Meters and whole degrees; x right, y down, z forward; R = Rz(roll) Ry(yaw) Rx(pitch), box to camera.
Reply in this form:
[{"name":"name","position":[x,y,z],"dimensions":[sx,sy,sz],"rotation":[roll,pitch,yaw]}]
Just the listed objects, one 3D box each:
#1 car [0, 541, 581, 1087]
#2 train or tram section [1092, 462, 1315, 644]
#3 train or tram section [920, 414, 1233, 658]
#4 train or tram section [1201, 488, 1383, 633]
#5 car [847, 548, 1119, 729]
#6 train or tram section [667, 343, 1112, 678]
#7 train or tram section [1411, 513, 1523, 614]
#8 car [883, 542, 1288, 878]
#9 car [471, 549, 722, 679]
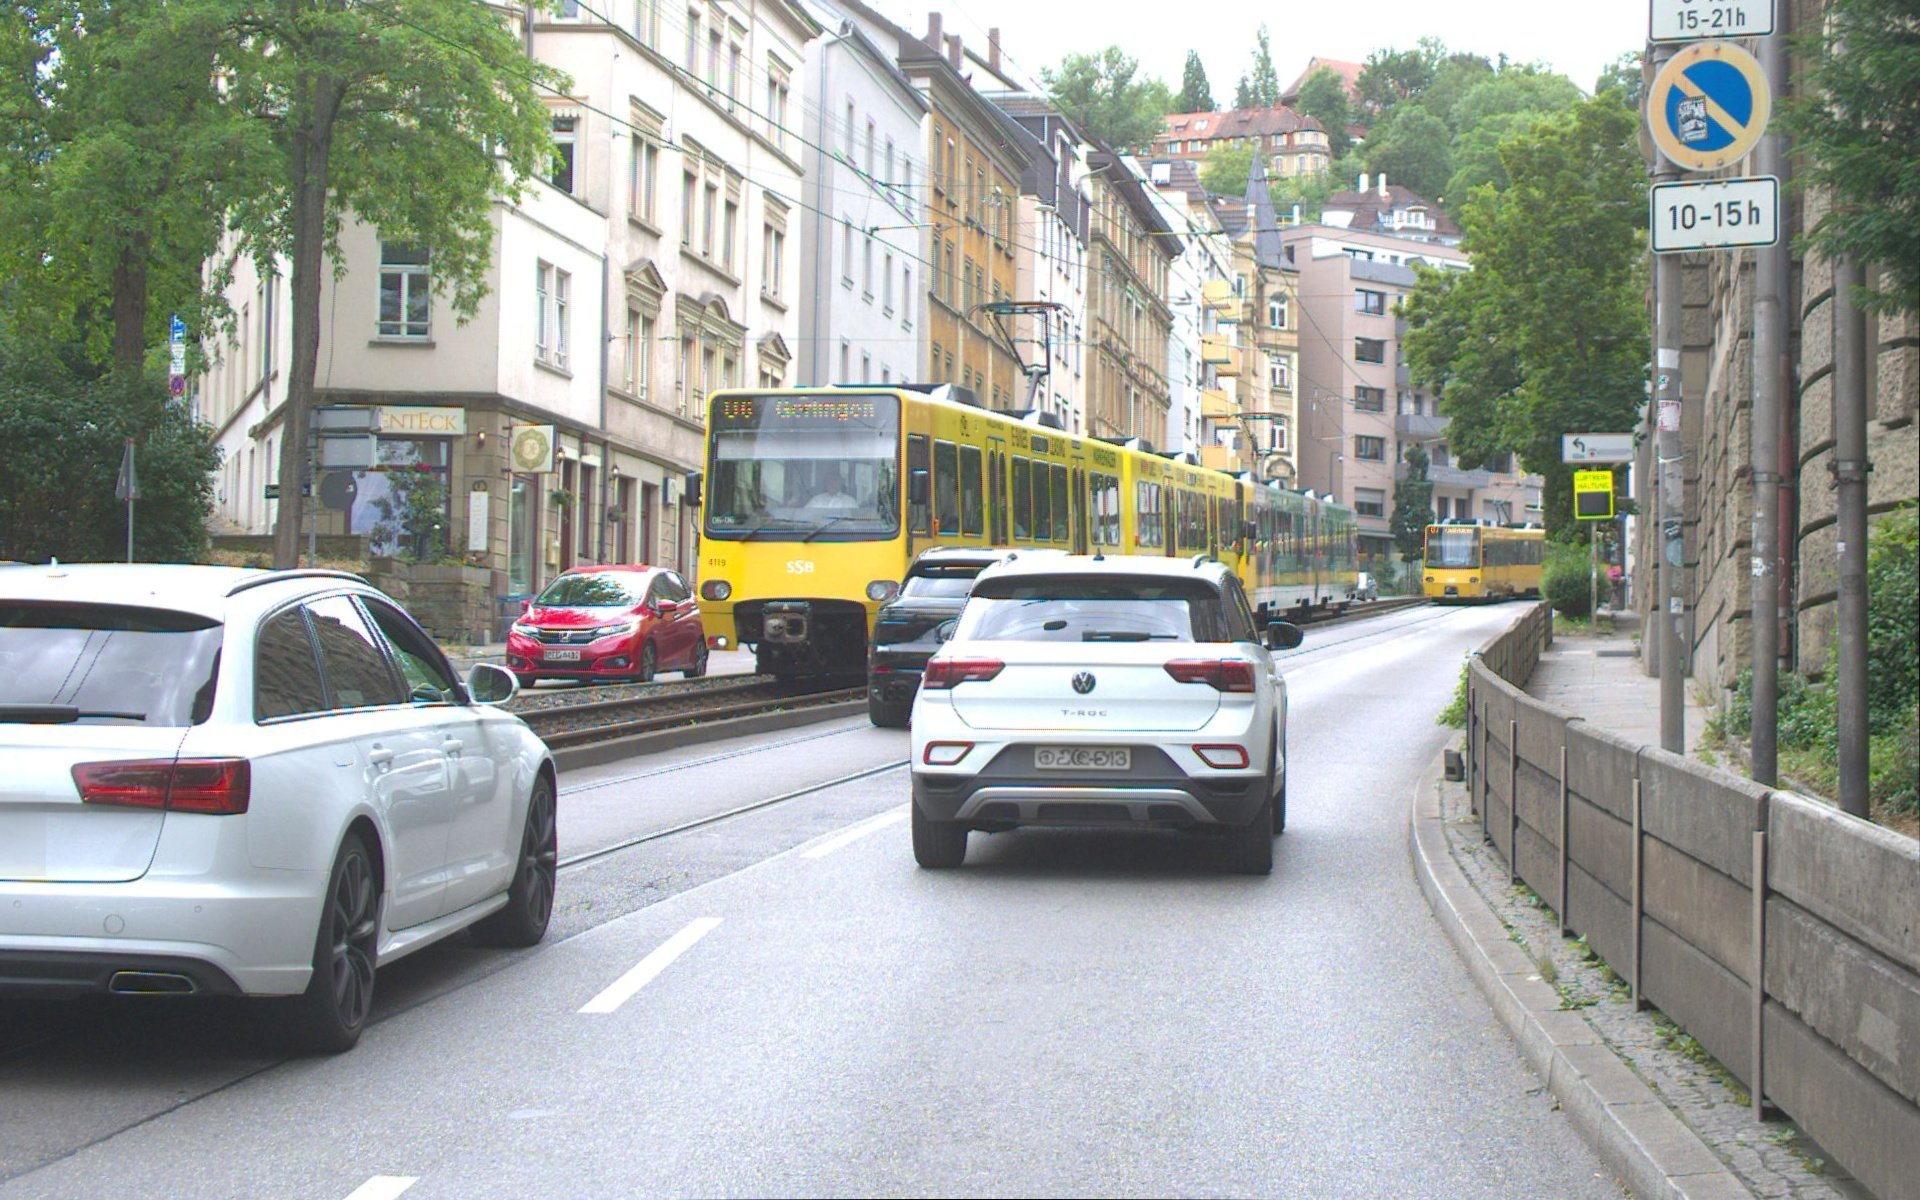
[{"name":"car","position":[-2.626,0.540,11.549],"dimensions":[1.879,1.450,4.617],"rotation":[1,1,4]},{"name":"train or tram section","position":[6.034,-0.989,81.214],"dimensions":[2.878,3.713,18.747],"rotation":[2,0,11]},{"name":"train or tram section","position":[2.535,-1.001,62.825],"dimensions":[2.877,3.713,18.694],"rotation":[2,0,10]},{"name":"train or tram section","position":[9.845,-1.027,99.561],"dimensions":[2.878,3.713,18.745],"rotation":[2,0,12]},{"name":"car","position":[0.295,0.334,32.357],"dimensions":[2.038,1.566,4.357],"rotation":[0,0,7]},{"name":"train or tram section","position":[-0.499,-1.022,46.315],"dimensions":[2.884,3.713,14.849],"rotation":[2,0,11]},{"name":"train or tram section","position":[22.802,-1.536,153.674],"dimensions":[3.019,4.199,18.846],"rotation":[1,0,14]},{"name":"car","position":[0.772,0.506,18.038],"dimensions":[1.879,1.549,3.999],"rotation":[0,0,6]},{"name":"car","position":[-4.425,0.162,42.426],"dimensions":[1.994,1.498,3.997],"rotation":[1,0,11]}]
